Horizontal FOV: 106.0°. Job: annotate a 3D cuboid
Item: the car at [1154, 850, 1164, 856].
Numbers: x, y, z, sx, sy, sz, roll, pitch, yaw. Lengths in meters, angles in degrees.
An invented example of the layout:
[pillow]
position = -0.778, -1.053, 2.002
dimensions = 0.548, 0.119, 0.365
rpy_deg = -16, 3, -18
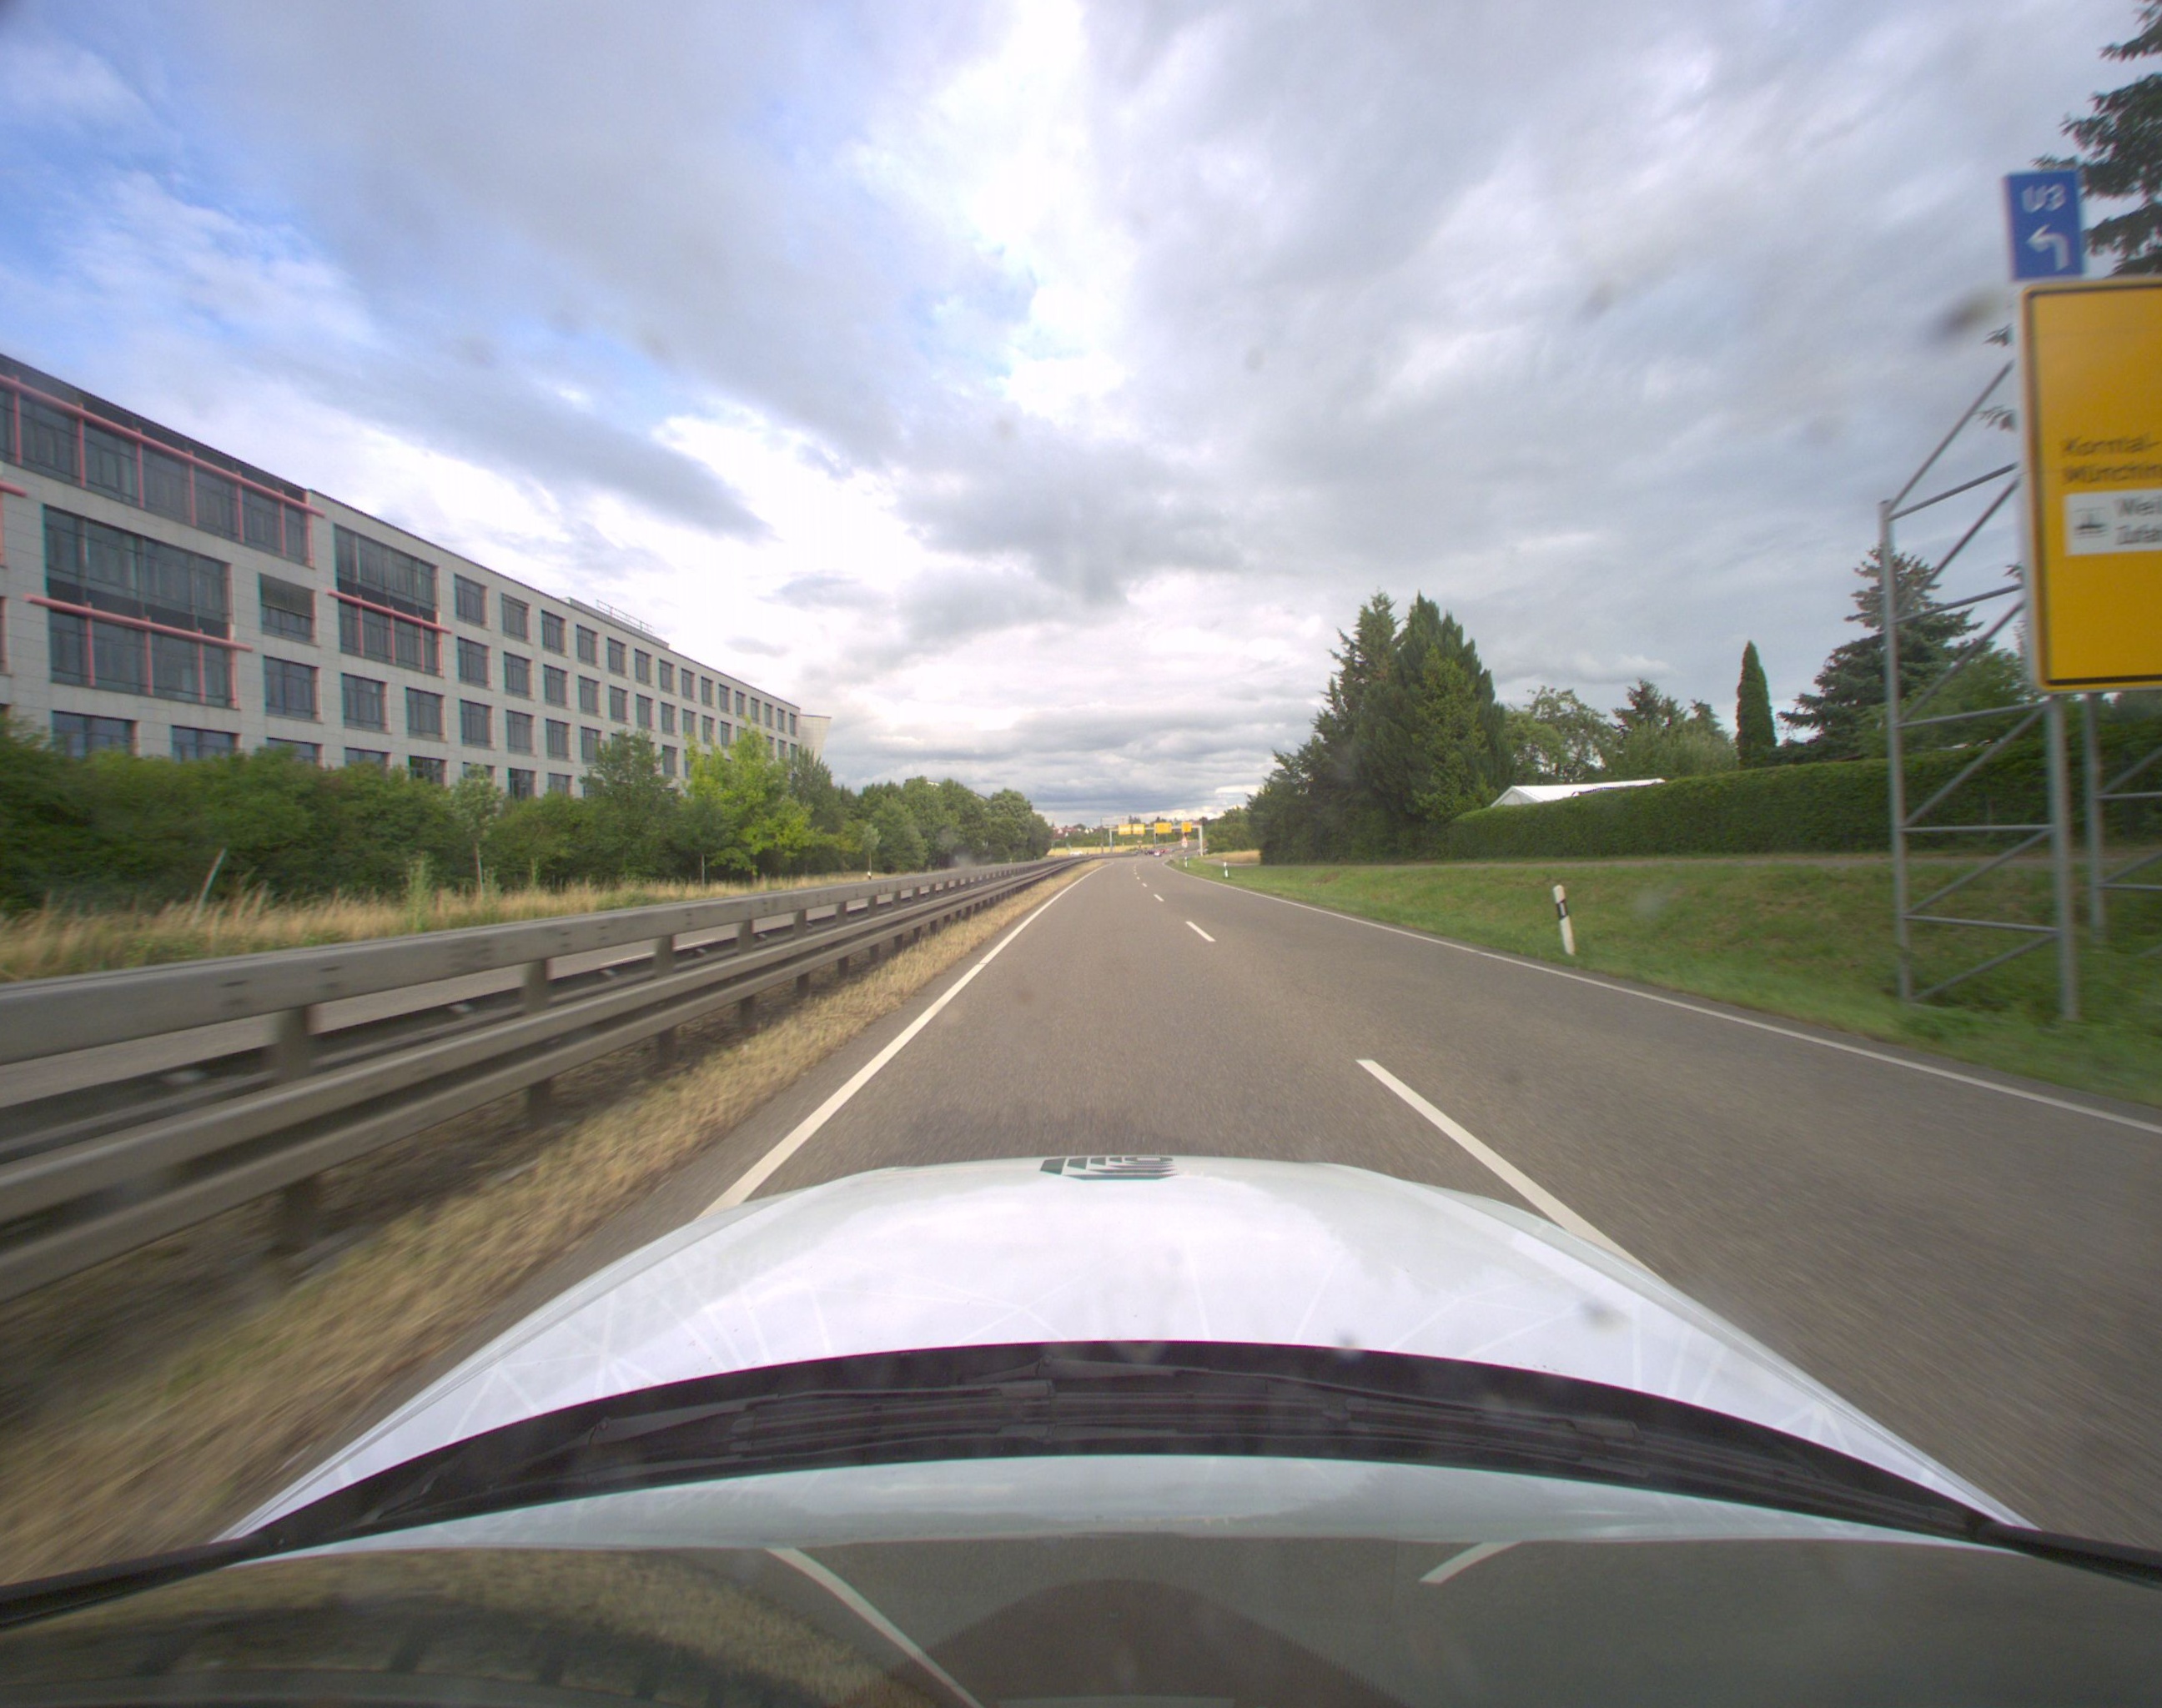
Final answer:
[car]
position = 21.371, -0.153, 223.164
dimensions = 1.784, 1.556, 4.017
rpy_deg = -2, 0, 15
